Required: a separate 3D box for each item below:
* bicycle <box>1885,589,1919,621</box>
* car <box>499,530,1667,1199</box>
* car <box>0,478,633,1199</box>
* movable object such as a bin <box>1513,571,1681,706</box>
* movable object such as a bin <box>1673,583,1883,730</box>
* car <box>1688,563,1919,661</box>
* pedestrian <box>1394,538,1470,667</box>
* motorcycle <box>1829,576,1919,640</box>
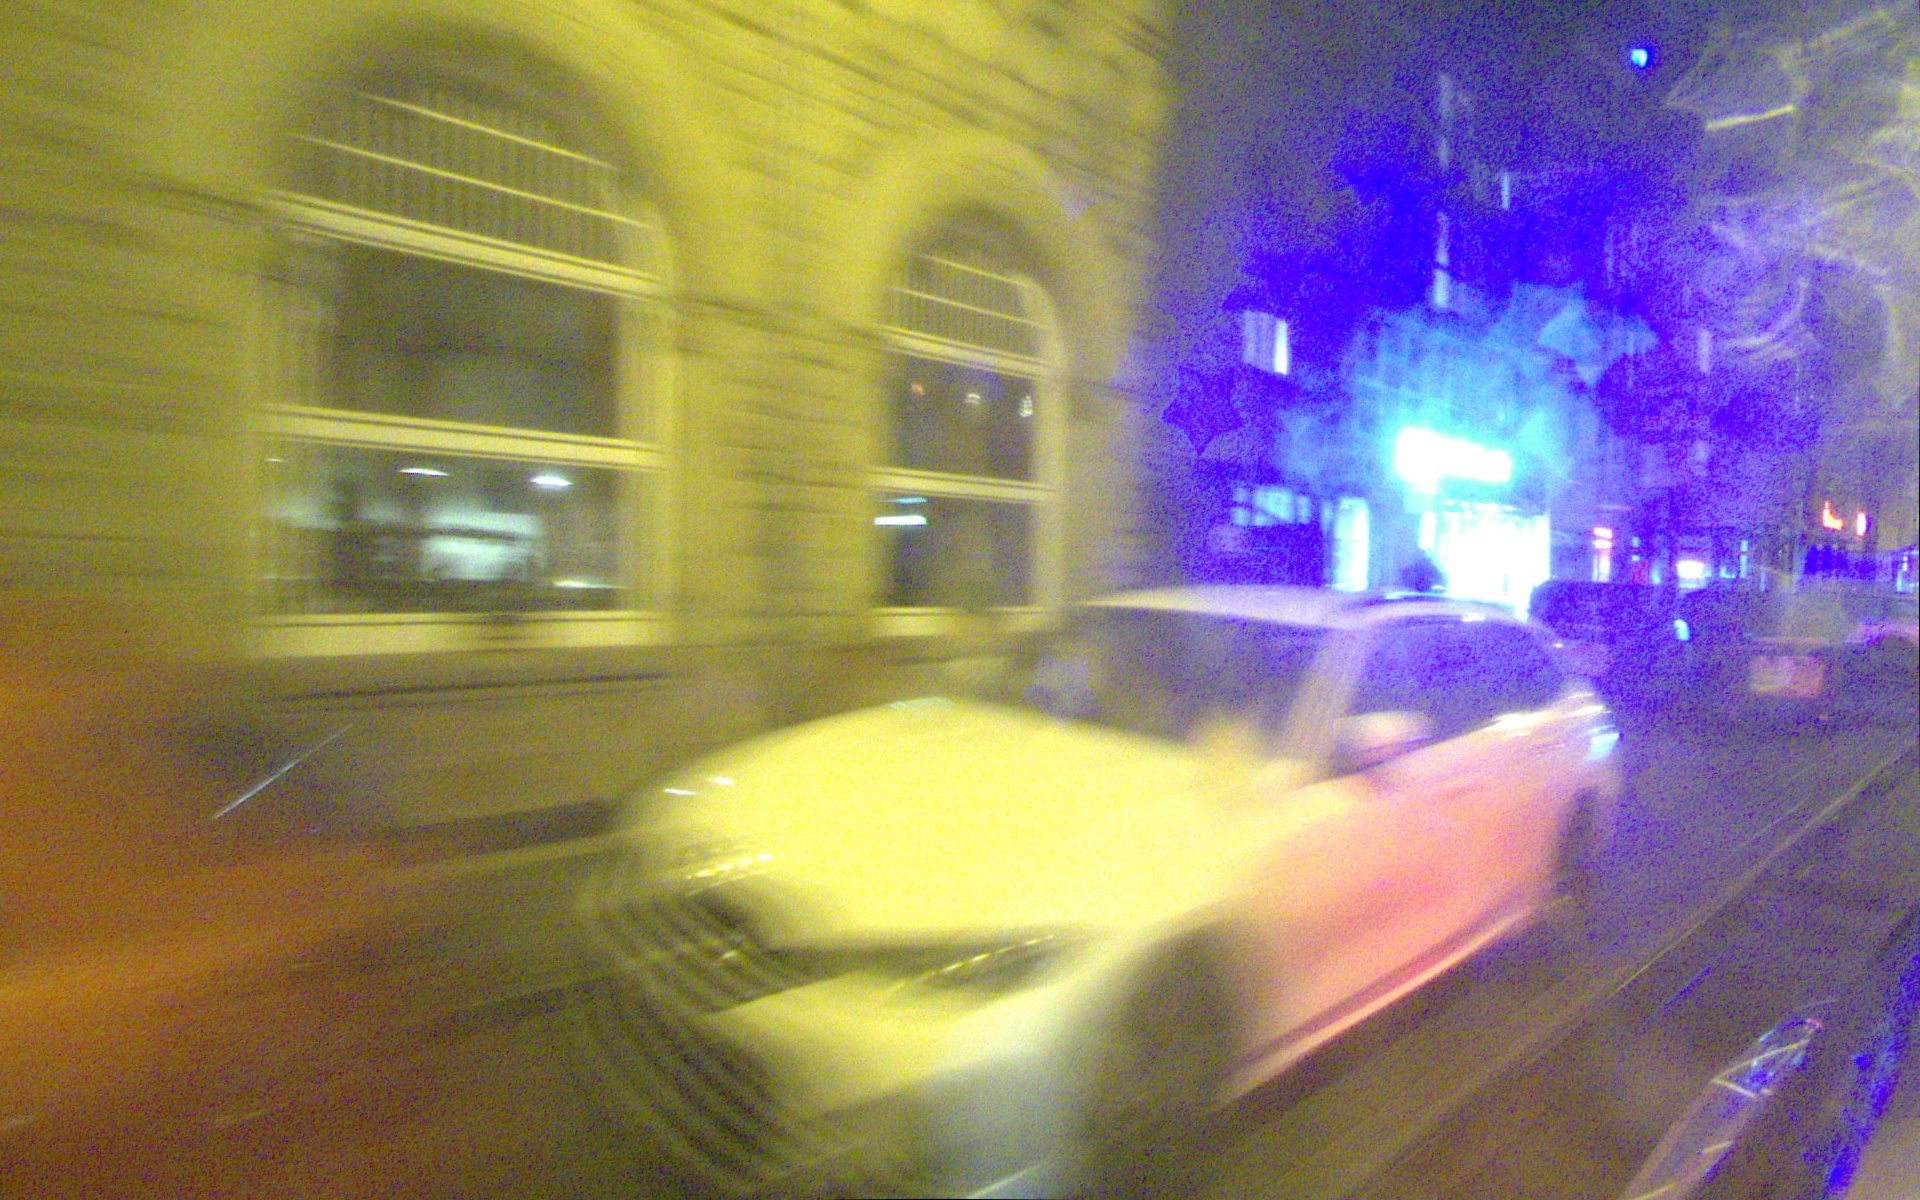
[{"bbox_3d":[32.272,0.208,34.090,0.360,0.963,1.531,-2,8,-44],"label":"bicycle"},{"bbox_3d":[0.845,0.580,3.824,4.340,1.482,1.997,-1,2,-41],"label":"car"},{"bbox_3d":[-2.373,0.634,0.574,3.828,1.517,1.691,-1,2,-45],"label":"car"},{"bbox_3d":[7.390,0.402,11.776,1.029,1.447,1.315,0,1,-31],"label":"movable object such as a bin"},{"bbox_3d":[8.715,0.552,10.876,1.321,1.447,1.196,1,1,13],"label":"movable object such as a bin"},{"bbox_3d":[17.175,0.207,19.687,1.749,1.548,4.524,0,5,-41],"label":"car"},{"bbox_3d":[6.852,0.023,14.695,0.612,1.810,0.705,2,2,-37],"label":"pedestrian"},{"bbox_3d":[26.182,0.223,28.561,0.852,1.606,2.294,0,6,-40],"label":"motorcycle"}]
